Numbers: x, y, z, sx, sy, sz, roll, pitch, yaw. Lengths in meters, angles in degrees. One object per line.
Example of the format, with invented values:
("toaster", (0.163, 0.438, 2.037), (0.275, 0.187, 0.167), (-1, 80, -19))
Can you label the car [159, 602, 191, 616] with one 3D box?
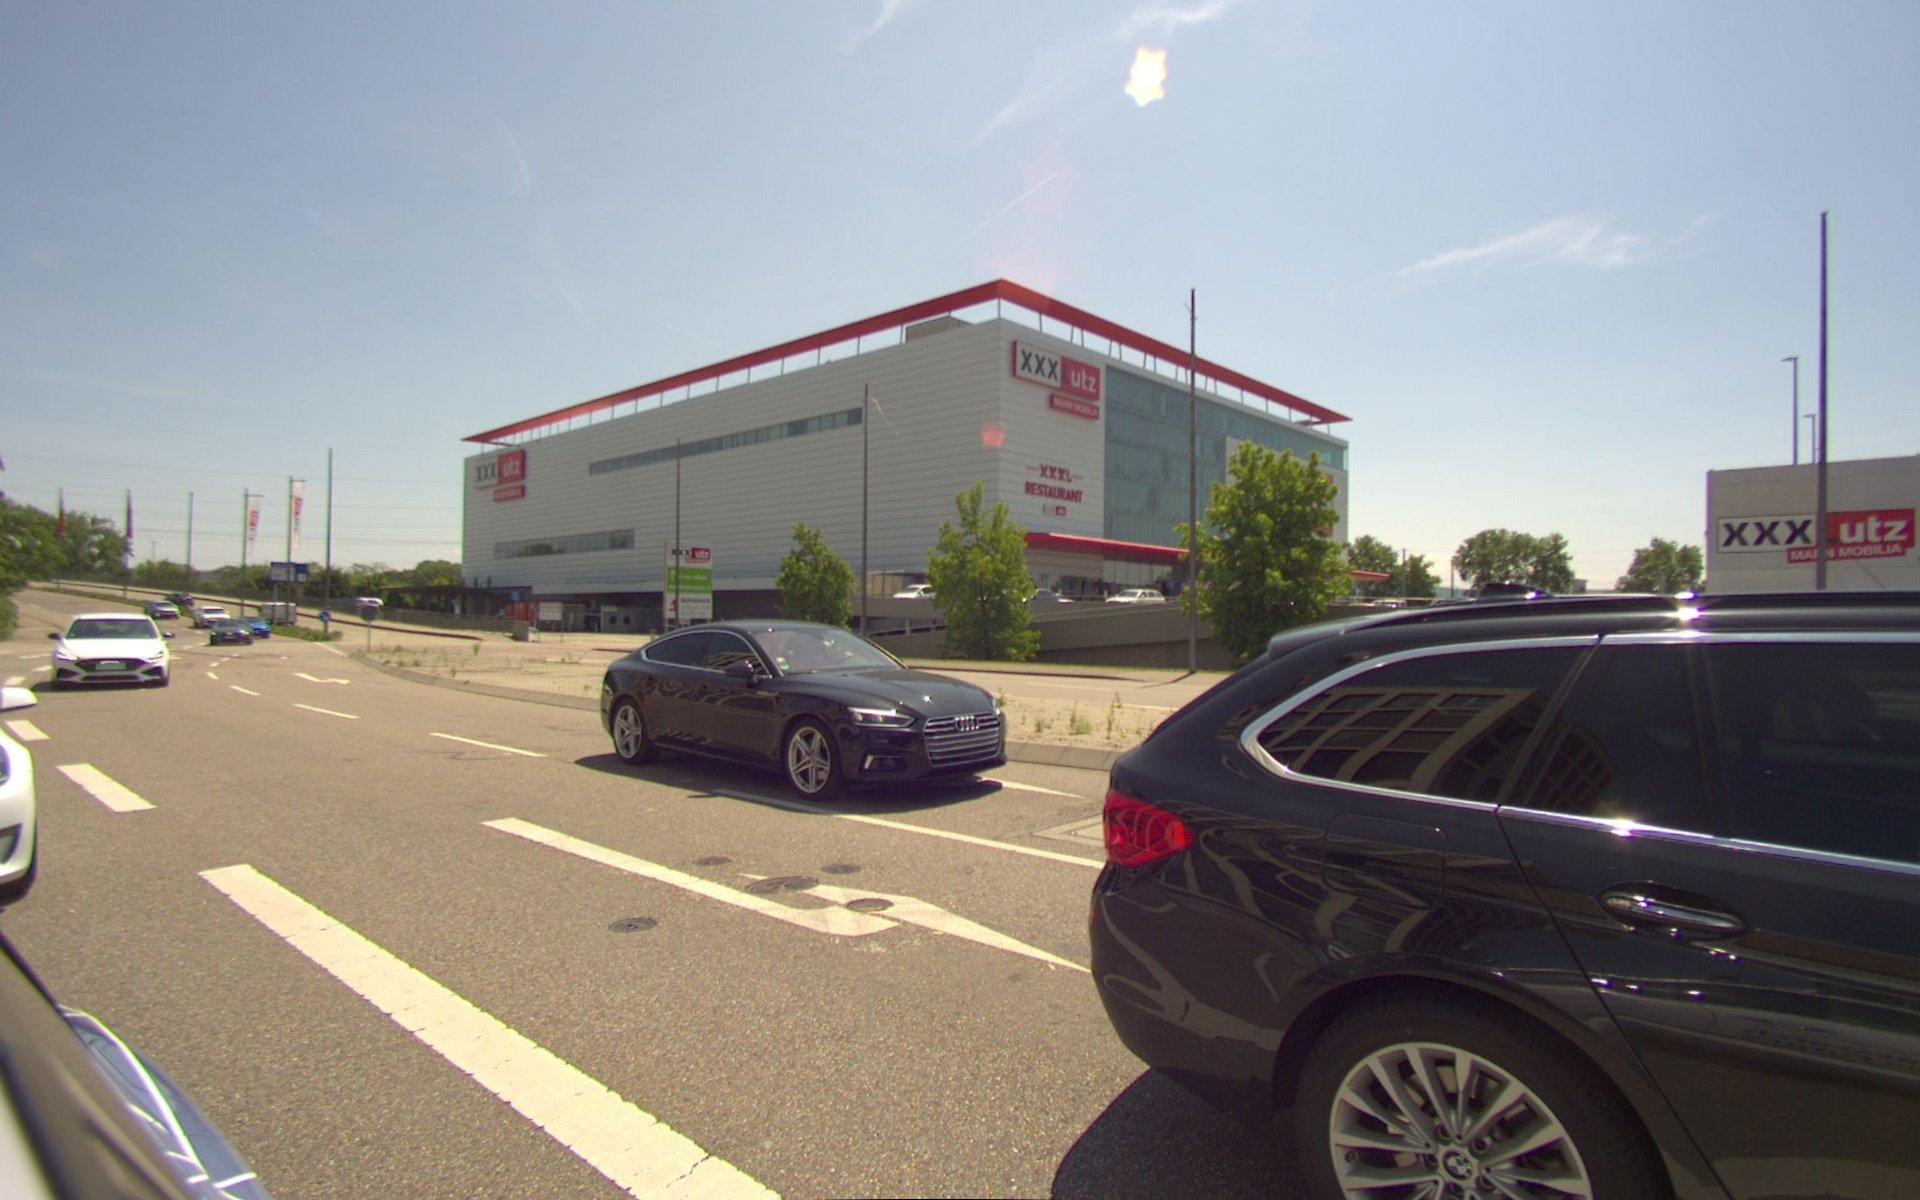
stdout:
("car", (-80.302, 0.917, 103.494), (3.892, 1.312, 1.836), (-1, -3, 42))

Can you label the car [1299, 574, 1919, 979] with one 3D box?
("car", (3.843, 0.668, 4.669), (3.991, 1.505, 1.782), (-1, -1, 36))

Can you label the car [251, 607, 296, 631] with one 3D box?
("car", (-59.010, 1.612, 86.995), (4.835, 1.864, 1.813), (1, -1, 39))

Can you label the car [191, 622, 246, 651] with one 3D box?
("car", (-38.600, 1.882, 52.676), (1.776, 1.388, 4.410), (0, -1, -43))

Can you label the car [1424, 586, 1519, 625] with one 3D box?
("car", (26.288, 0.309, 52.087), (3.998, 1.946, 1.973), (-1, -2, 41))

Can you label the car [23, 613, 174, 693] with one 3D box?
("car", (-17.563, 1.022, 20.572), (4.228, 1.461, 1.712), (-1, -2, 41))

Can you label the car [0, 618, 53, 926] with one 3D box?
("car", (-6.664, 0.832, 5.547), (4.401, 1.436, 1.857), (-1, -1, 39))

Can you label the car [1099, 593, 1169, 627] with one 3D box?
("car", (9.929, 0.590, 57.564), (2.001, 1.781, 4.140), (0, -2, 44))

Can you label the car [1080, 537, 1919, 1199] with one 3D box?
("car", (2.623, 0.634, 1.644), (4.620, 1.477, 1.781), (-1, -1, 40))

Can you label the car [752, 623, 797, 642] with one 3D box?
("car", (-17.108, 3.015, 93.403), (1.911, 1.632, 3.698), (0, -2, 41))

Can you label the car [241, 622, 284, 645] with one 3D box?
("car", (-44.717, 2.142, 64.824), (1.775, 1.424, 4.412), (1, -2, -41))

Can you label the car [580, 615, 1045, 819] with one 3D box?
("car", (-1.551, 0.868, 9.182), (4.533, 1.401, 1.729), (-2, -2, 43))

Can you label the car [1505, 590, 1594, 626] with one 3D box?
("car", (32.523, 0.457, 55.841), (3.996, 1.923, 1.974), (-1, -2, 39))

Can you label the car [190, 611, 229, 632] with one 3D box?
("car", (-58.627, 1.706, 79.042), (4.057, 1.587, 1.657), (-1, -2, 43))
